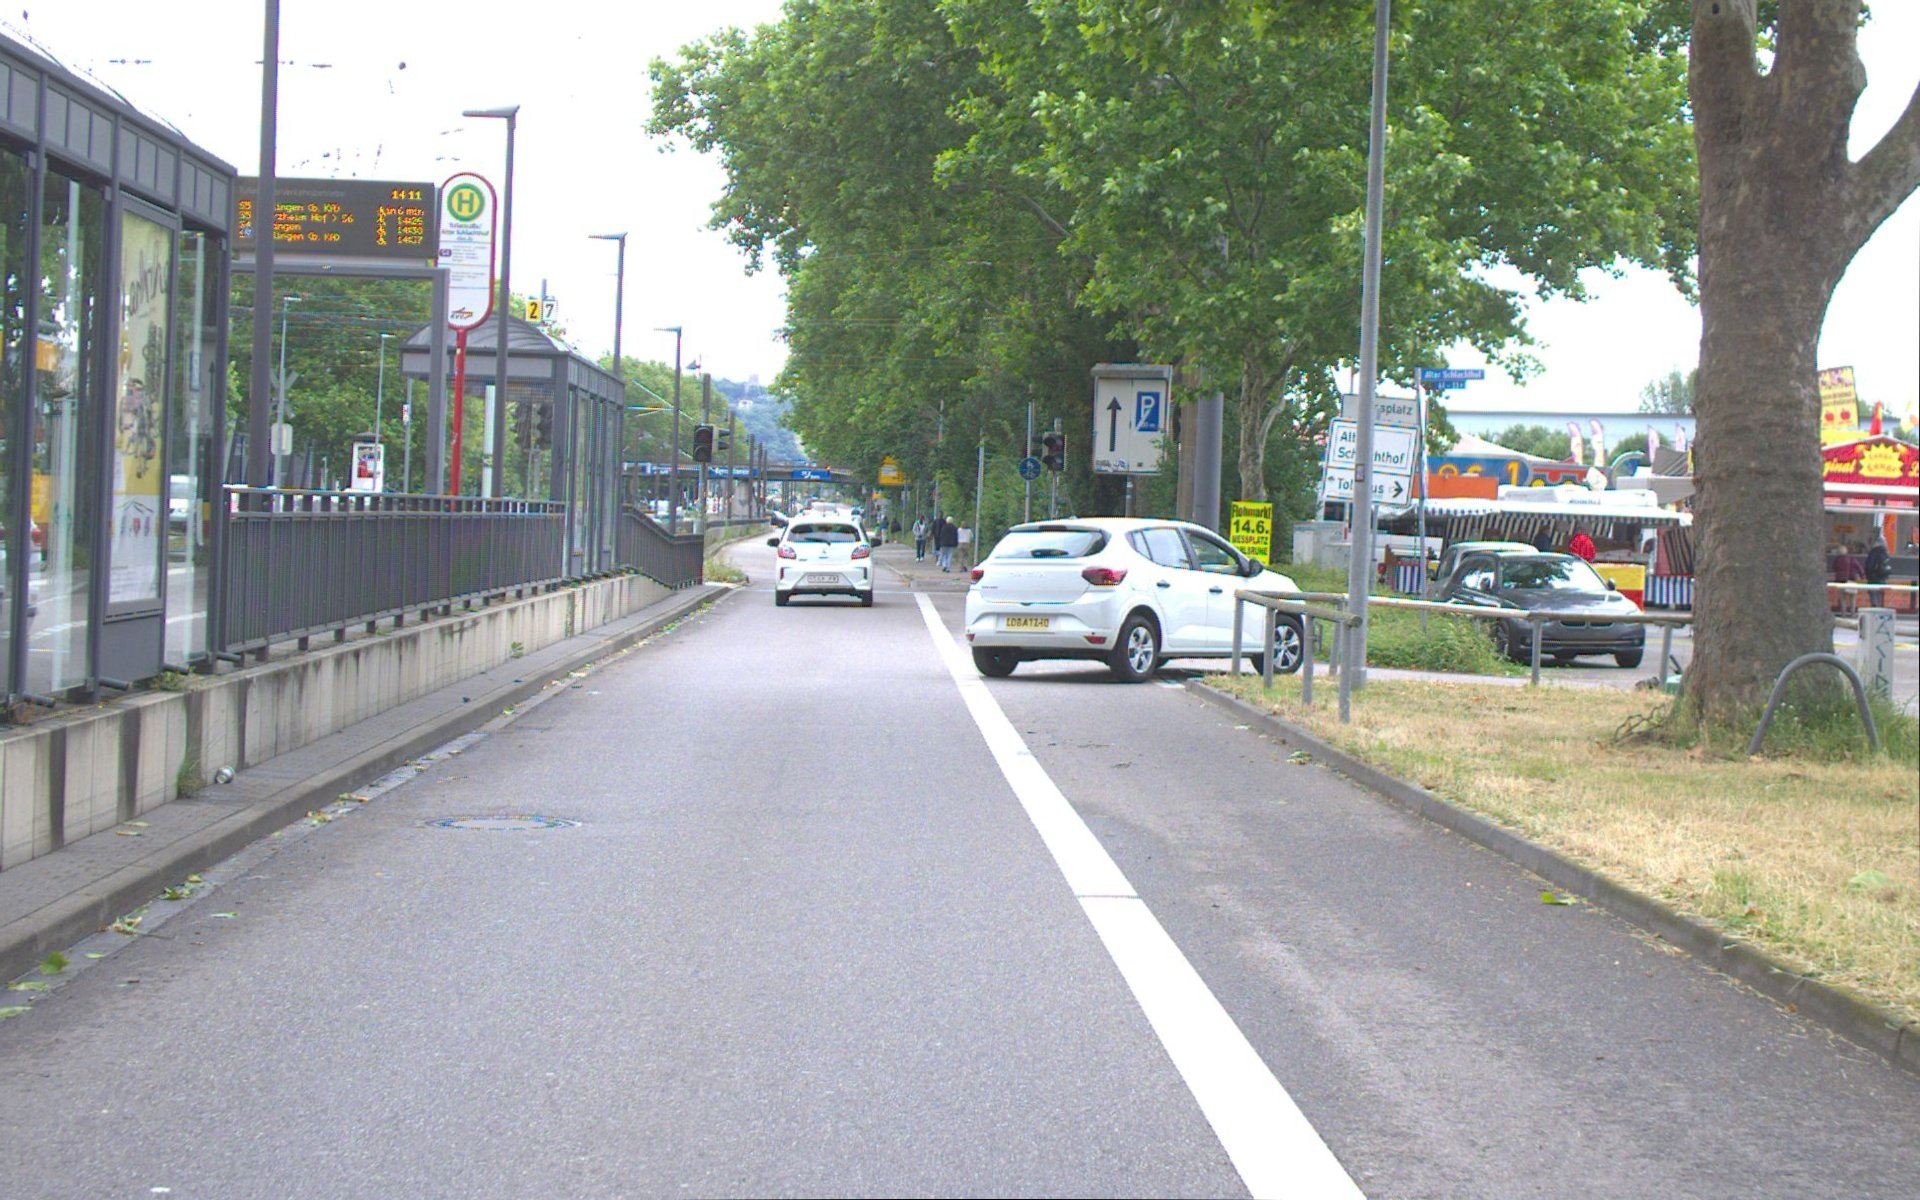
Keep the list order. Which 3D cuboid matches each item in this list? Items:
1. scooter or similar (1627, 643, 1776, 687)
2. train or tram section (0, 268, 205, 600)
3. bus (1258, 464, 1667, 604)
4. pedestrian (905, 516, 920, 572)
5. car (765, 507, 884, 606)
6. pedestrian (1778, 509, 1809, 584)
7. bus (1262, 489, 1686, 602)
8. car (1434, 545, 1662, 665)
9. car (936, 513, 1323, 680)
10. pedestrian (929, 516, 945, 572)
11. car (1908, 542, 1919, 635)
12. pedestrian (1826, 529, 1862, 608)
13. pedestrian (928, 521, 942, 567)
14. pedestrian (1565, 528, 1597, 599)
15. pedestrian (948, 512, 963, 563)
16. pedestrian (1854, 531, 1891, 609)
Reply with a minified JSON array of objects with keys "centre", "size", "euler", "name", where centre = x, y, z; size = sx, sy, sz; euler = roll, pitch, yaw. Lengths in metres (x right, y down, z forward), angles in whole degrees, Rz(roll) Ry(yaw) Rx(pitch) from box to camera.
[{"centre":[7.161,0.619,33.146],"size":[1.178,0.348,1.329],"euler":[1,1,23],"name":"scooter or similar"},{"centre":[-13.846,-2.234,49.108],"size":[3.180,4.164,14.736],"euler":[2,1,-2],"name":"train or tram section"},{"centre":[11.874,-1.564,81.527],"size":[9.276,2.949,2.000],"euler":[2,1,-4],"name":"bus"},{"centre":[-1.726,-2.042,124.722],"size":[0.396,2.007,0.402],"euler":[2,1,14],"name":"pedestrian"},{"centre":[-2.234,-0.756,57.711],"size":[1.841,1.546,4.000],"euler":[1,1,-1],"name":"car"},{"centre":[18.801,-1.202,77.548],"size":[0.492,1.681,0.524],"euler":[2,1,-4],"name":"pedestrian"},{"centre":[11.674,-1.235,78.421],"size":[9.276,2.220,2.000],"euler":[2,1,-4],"name":"bus"},{"centre":[7.618,0.035,44.904],"size":[1.862,1.425,4.001],"euler":[2,1,-6],"name":"car"},{"centre":[1.686,-0.033,32.882],"size":[1.889,1.448,3.992],"euler":[3,1,33],"name":"car"},{"centre":[-0.834,-2.013,124.478],"size":[0.396,2.007,0.402],"euler":[2,1,14],"name":"pedestrian"},{"centre":[18.472,-0.107,57.532],"size":[4.573,1.570,2.000],"euler":[2,1,-3],"name":"car"},{"centre":[19.125,-0.686,74.374],"size":[0.522,1.681,0.494],"euler":[2,1,-18],"name":"pedestrian"},{"centre":[-0.788,-1.791,109.080],"size":[0.396,1.439,0.563],"euler":[2,1,0],"name":"pedestrian"},{"centre":[13.025,-0.768,72.152],"size":[0.492,1.458,0.524],"euler":[2,1,-4],"name":"pedestrian"},{"centre":[-0.136,-1.980,109.078],"size":[0.396,1.580,0.538],"euler":[2,1,-1],"name":"pedestrian"},{"centre":[19.854,-0.660,74.784],"size":[0.522,1.681,0.494],"euler":[2,1,-18],"name":"pedestrian"}]
